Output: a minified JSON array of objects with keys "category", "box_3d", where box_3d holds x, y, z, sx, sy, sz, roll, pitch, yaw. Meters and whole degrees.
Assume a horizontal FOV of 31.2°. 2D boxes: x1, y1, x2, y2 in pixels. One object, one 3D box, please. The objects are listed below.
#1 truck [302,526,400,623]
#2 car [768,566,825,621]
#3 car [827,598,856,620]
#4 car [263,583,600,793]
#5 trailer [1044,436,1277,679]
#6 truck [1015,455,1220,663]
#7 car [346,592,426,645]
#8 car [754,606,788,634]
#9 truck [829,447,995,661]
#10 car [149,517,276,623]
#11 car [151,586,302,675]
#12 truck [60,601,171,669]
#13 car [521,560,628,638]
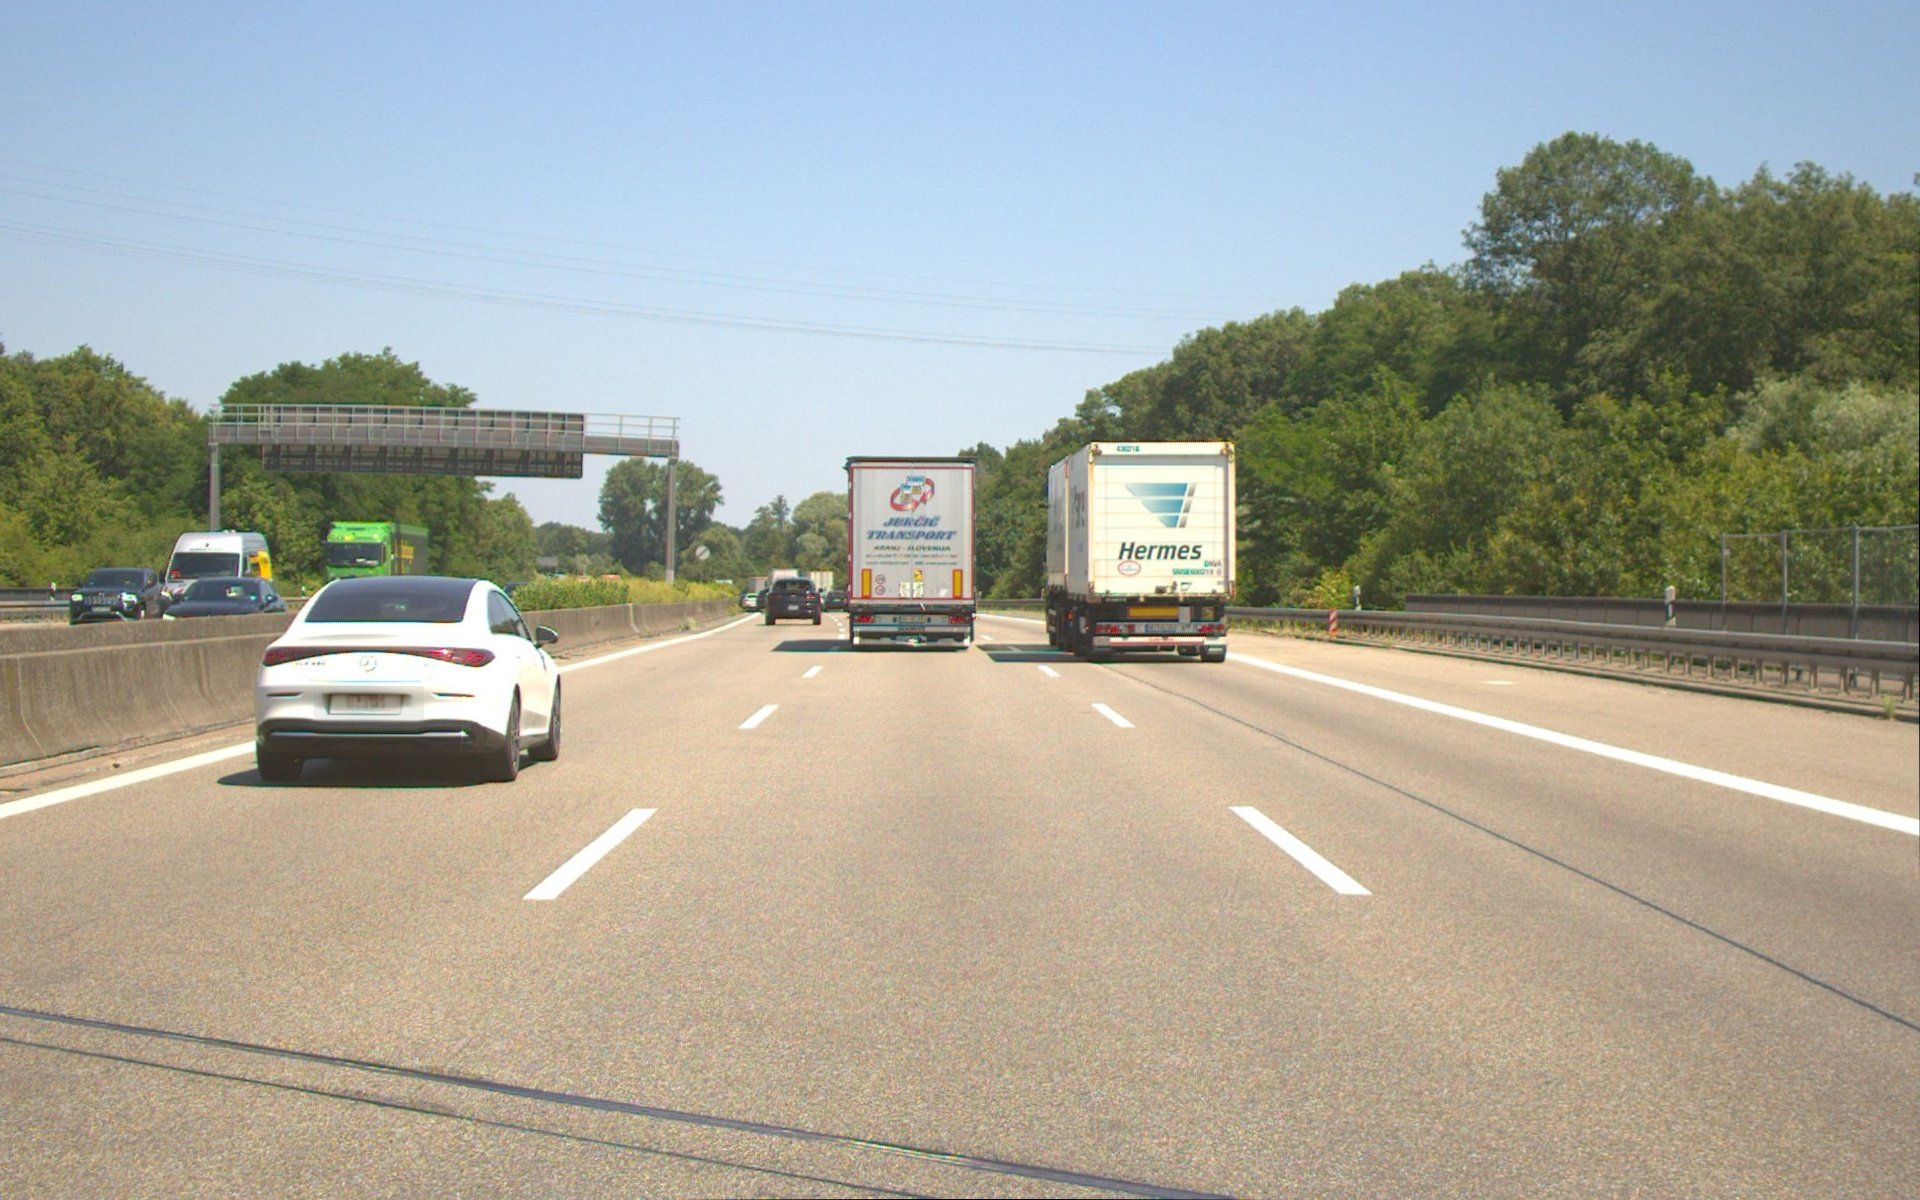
[{"category":"truck","box_3d":[-25.538,-1.078,144.357,2.922,3.927,6.498,1,0,0]},{"category":"car","box_3d":[-5.926,-0.250,124.744,1.993,1.868,4.001,1,1,-3]},{"category":"car","box_3d":[-8.562,0.630,248.292,1.993,1.590,4.000,0,0,-3]},{"category":"car","box_3d":[-3.992,0.605,26.763,1.767,1.443,5.108,1,0,1]},{"category":"trailer","box_3d":[3.552,-0.792,63.540,3.367,4.128,9.092,1,1,-2]},{"category":"truck","box_3d":[3.171,-0.923,72.605,3.325,4.039,10.955,1,1,-2]},{"category":"car","box_3d":[-18.973,0.602,113.785,1.999,1.706,4.539,0,0,-2]},{"category":"car","box_3d":[-11.132,1.172,202.322,1.993,1.590,4.000,0,0,-3]},{"category":"truck","box_3d":[-1.066,-0.931,72.008,3.229,4.188,8.466,1,0,-2]},{"category":"car","box_3d":[-18.800,-0.734,86.724,1.993,2.559,6.129,1,0,-2]},{"category":"car","box_3d":[-14.104,0.562,66.375,1.993,1.622,5.016,1,0,-2]},{"category":"truck","box_3d":[-22.984,0.929,93.746,1.993,1.794,4.743,1,0,-2]},{"category":"car","box_3d":[-10.216,-0.046,91.394,2.292,2.007,4.711,1,0,0]}]
